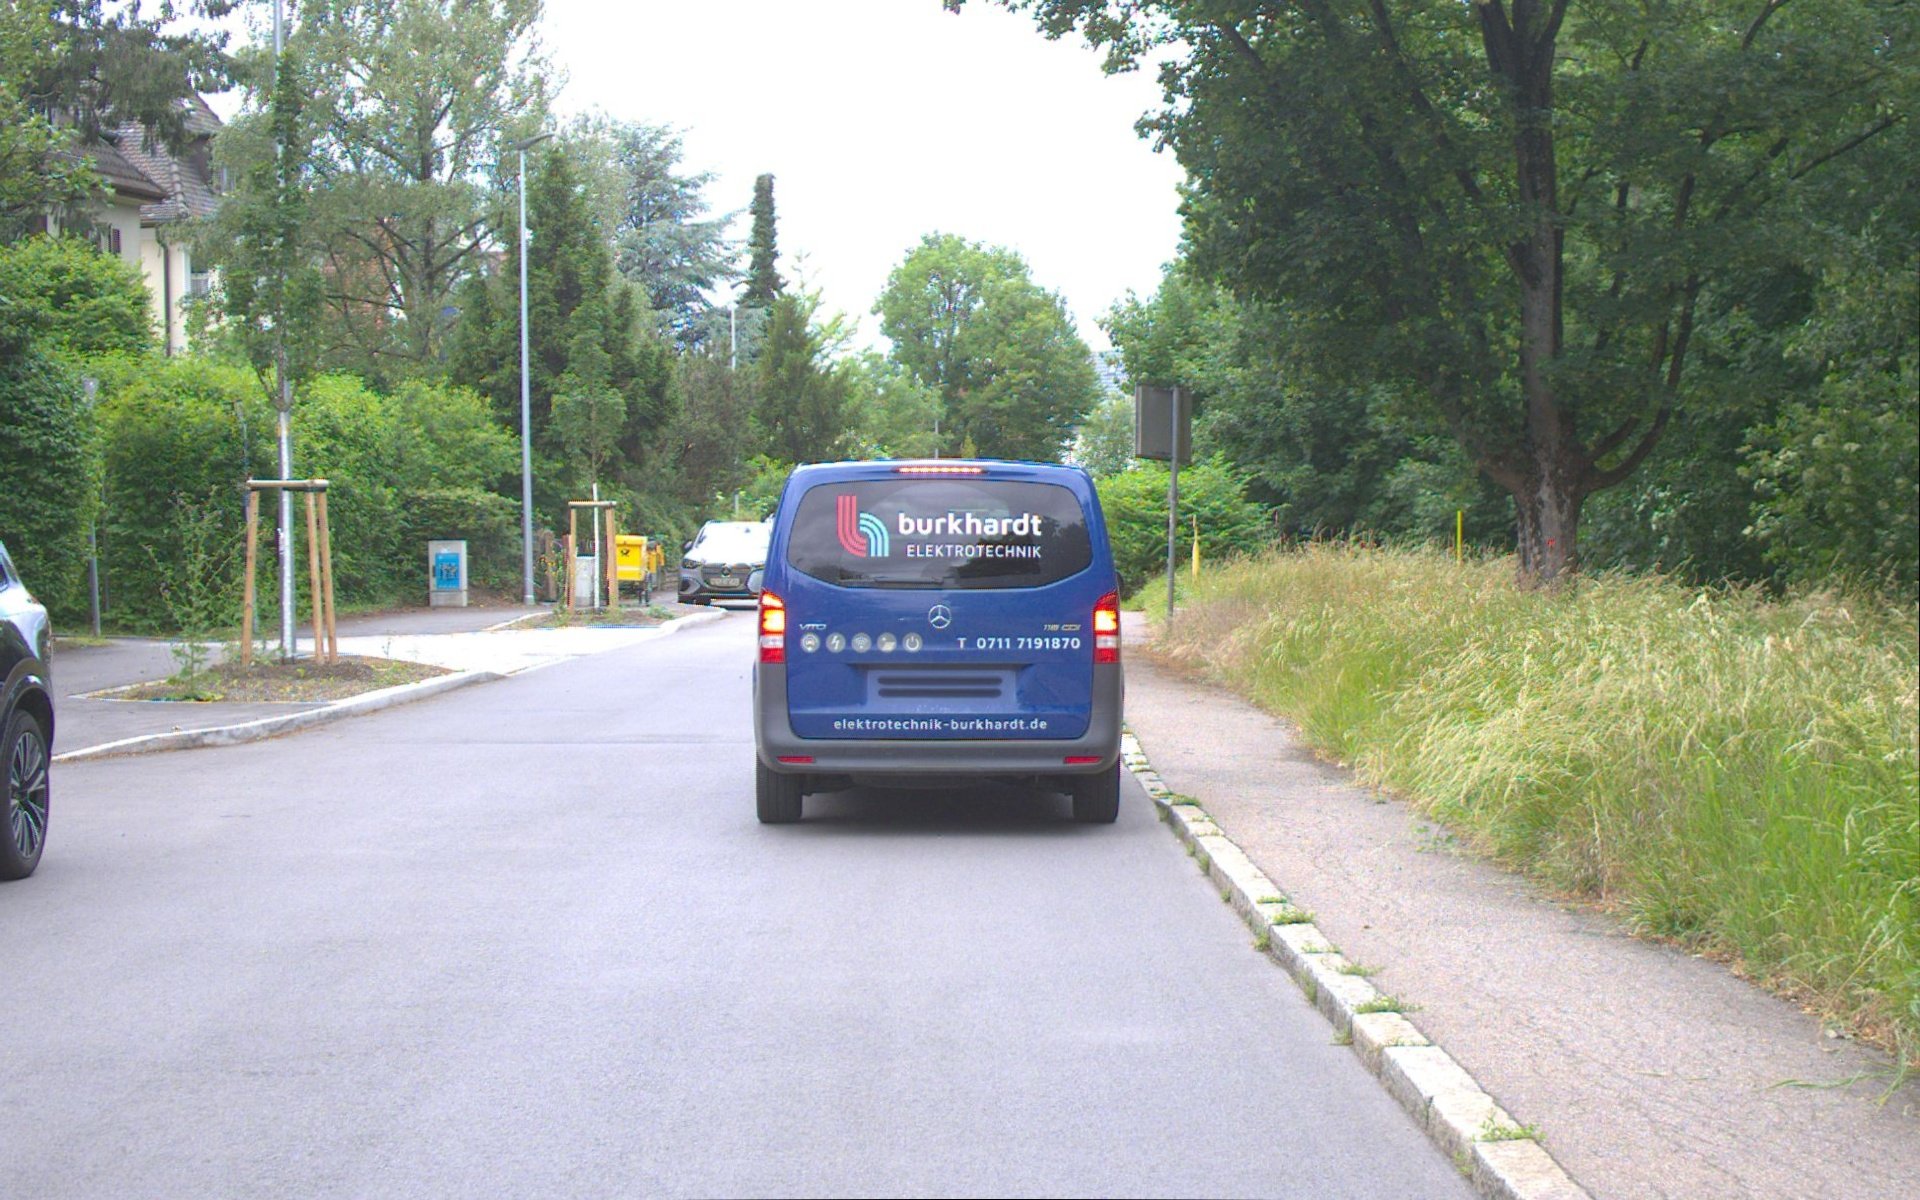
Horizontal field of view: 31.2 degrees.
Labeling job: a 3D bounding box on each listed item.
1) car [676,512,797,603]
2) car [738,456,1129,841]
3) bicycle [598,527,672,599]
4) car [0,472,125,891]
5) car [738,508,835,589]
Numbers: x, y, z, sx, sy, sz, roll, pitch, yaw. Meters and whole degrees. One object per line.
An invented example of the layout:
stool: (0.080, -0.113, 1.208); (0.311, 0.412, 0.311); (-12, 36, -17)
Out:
car: (-4.171, -0.820, 64.794); (1.836, 1.625, 4.300); (1, 1, 2)
car: (-0.205, 0.154, 18.670); (1.888, 1.837, 4.001); (0, 3, -2)
bicycle: (-5.838, -0.675, 61.914); (0.906, 1.247, 2.916); (2, 1, 2)
car: (-4.958, 0.347, 13.535); (1.974, 1.731, 5.189); (0, 1, 1)
car: (-3.889, -1.187, 77.690); (1.832, 1.745, 4.000); (1, 2, 2)
